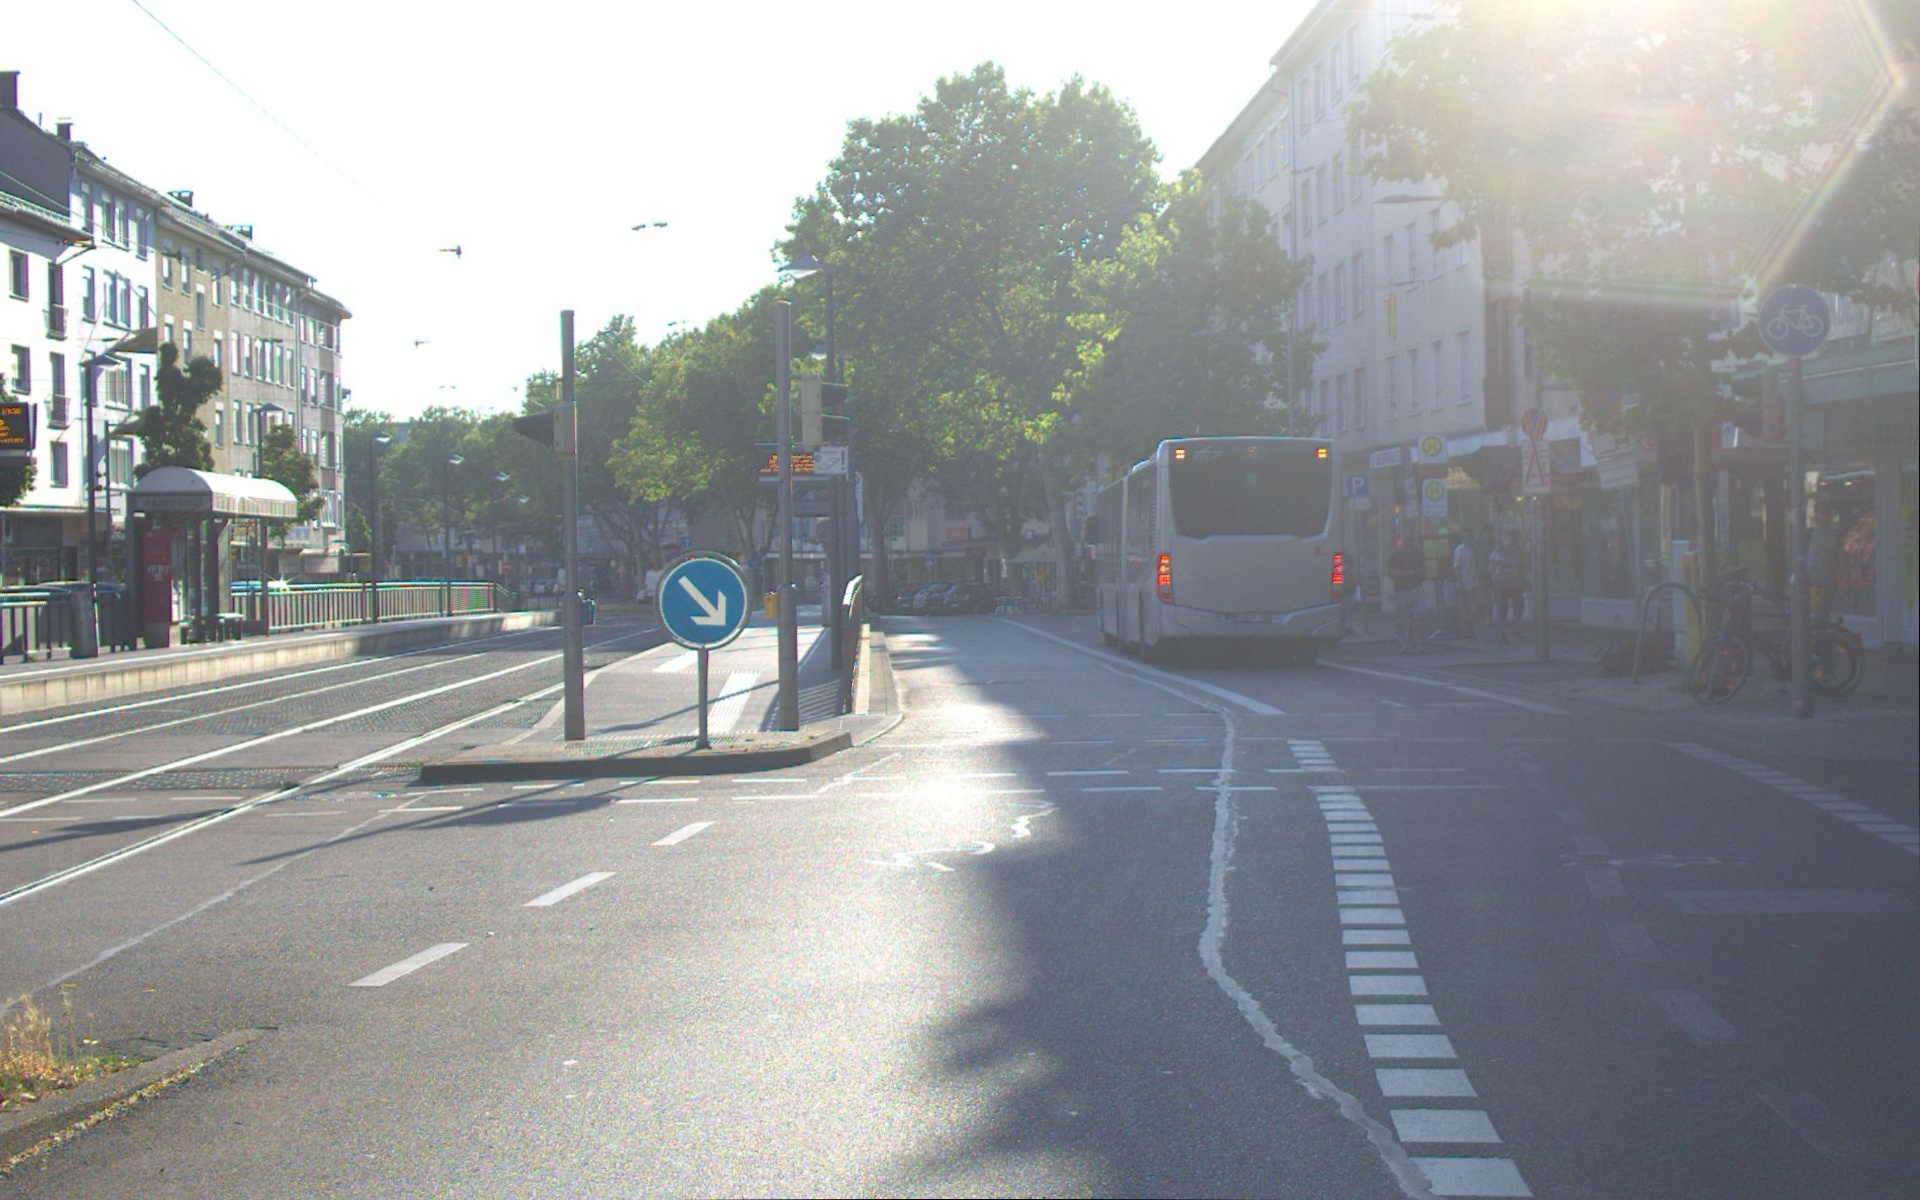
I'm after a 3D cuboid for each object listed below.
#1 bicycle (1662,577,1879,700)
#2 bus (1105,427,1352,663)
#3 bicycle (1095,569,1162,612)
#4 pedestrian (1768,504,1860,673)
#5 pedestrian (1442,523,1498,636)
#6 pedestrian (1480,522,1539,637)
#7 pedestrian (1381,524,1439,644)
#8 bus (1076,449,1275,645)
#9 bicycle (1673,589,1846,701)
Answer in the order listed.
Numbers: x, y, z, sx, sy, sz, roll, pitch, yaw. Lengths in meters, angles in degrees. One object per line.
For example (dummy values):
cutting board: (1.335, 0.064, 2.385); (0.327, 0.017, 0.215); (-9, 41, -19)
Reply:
bicycle: (7.360, 0.343, 31.240); (1.798, 1.005, 0.541); (-3, 1, -4)
bus: (3.742, -0.787, 50.077); (2.696, 3.107, 9.382); (0, 1, -1)
bicycle: (4.944, -0.278, 100.965); (1.887, 1.073, 0.754); (-5, 1, 2)
pedestrian: (9.271, -0.136, 37.340); (0.743, 1.773, 0.895); (-2, 2, 0)
pedestrian: (8.119, -0.326, 54.723); (0.723, 1.773, 0.766); (-1, 0, -1)
pedestrian: (8.348, -0.306, 52.220); (0.723, 1.717, 0.766); (-1, 0, -1)
pedestrian: (6.819, -0.244, 52.085); (0.723, 1.800, 0.766); (-1, 0, -1)
bus: (3.581, -0.893, 59.238); (2.696, 3.107, 9.070); (0, 1, -1)
bicycle: (7.421, 0.413, 31.918); (1.482, 1.005, 0.454); (-1, 1, -4)
